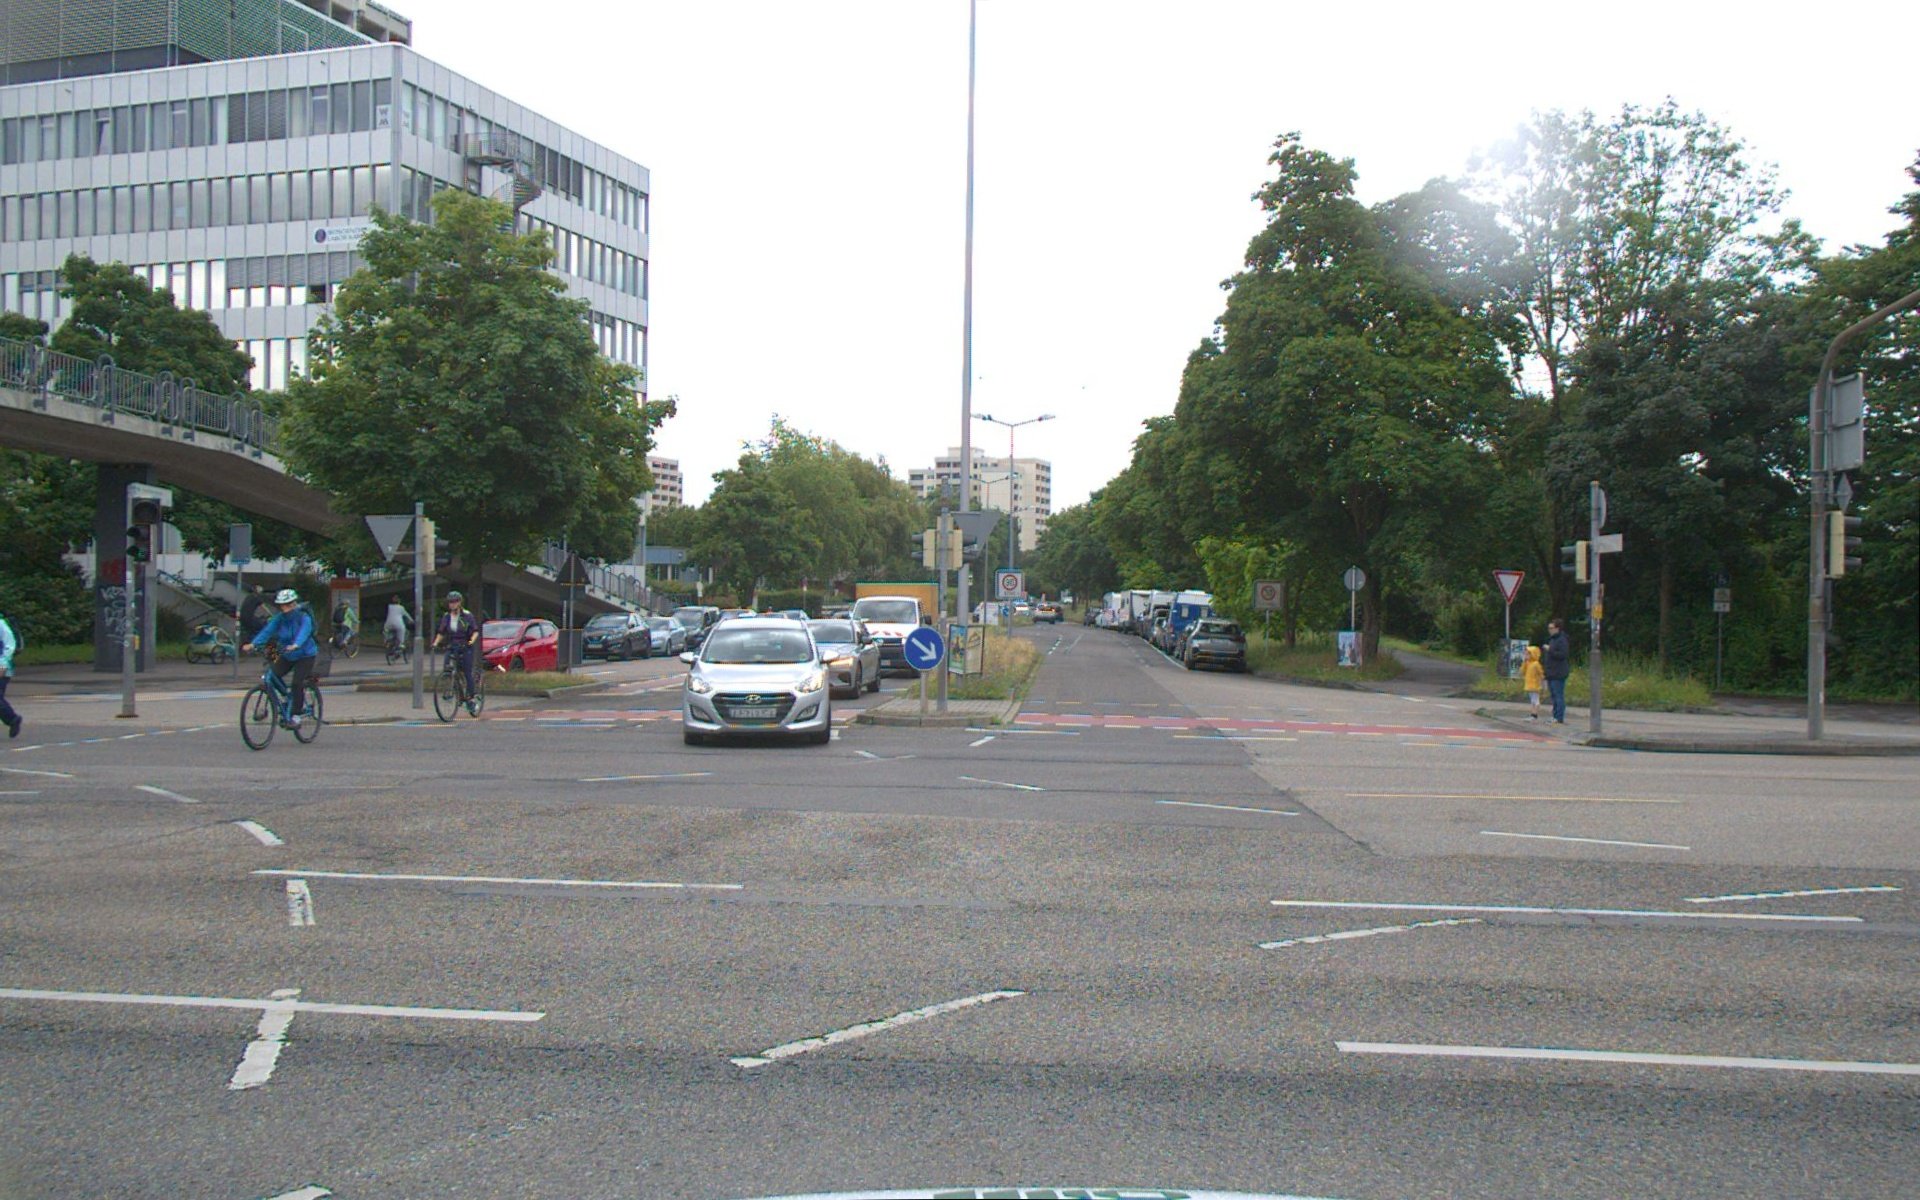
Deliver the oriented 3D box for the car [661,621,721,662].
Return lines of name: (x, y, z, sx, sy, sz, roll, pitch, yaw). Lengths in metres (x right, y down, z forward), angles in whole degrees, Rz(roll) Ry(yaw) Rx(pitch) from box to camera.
car: (-10.873, 1.654, 67.028, 1.636, 1.579, 3.763, 1, -1, 3)

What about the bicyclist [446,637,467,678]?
bicyclist: (-15.481, 1.755, 50.860, 0.422, 1.239, 0.567, 0, -1, 1)

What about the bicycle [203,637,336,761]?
bicycle: (-7.796, 1.082, 18.778, 0.531, 1.289, 2.111, 1, -1, 2)

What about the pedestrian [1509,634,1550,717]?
pedestrian: (9.538, 1.255, 27.701, 0.516, 1.365, 0.525, 1, -1, 2)

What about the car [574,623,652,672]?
car: (-11.737, 1.594, 56.226, 1.636, 1.579, 3.893, 1, -1, 3)

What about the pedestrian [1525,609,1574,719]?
pedestrian: (9.655, 1.037, 27.099, 0.643, 1.780, 0.459, 1, -1, 2)

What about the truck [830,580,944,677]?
truck: (-1.739, 0.695, 41.645, 2.110, 2.237, 5.843, 1, -1, 5)

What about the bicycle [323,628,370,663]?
bicycle: (-17.320, 1.284, 46.720, 0.515, 0.966, 1.710, 0, -1, 7)

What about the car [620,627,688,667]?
car: (-11.380, 1.737, 61.711, 1.636, 1.411, 3.896, 1, -1, 3)

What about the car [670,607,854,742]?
car: (-2.407, 0.868, 21.145, 1.752, 1.545, 4.326, 0, 0, 1)

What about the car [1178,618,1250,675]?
car: (7.907, 1.425, 51.783, 1.747, 1.691, 4.001, 1, -1, 2)

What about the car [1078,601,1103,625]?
car: (10.800, 1.074, 136.778, 1.618, 1.952, 3.917, 1, 0, -2)

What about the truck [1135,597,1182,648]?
truck: (11.710, 1.317, 97.842, 1.953, 2.888, 5.729, 1, -1, -1)

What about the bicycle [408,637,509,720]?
bicycle: (-7.334, 1.121, 24.290, 0.711, 1.120, 2.264, 1, -1, 2)

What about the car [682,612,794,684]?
car: (-4.905, 1.032, 37.048, 1.733, 1.503, 4.391, 0, -1, 2)

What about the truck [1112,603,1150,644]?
truck: (11.352, 1.589, 109.936, 1.952, 2.618, 5.378, 0, -1, 0)

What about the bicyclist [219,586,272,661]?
bicyclist: (-18.619, 0.611, 43.117, 0.838, 1.926, 1.128, 1, 0, 4)

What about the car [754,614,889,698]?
car: (-2.548, 1.004, 31.527, 1.857, 1.445, 4.738, 0, 0, 4)

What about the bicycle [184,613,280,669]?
bicycle: (-18.630, 1.024, 42.433, 0.838, 1.338, 3.231, 1, 0, 4)

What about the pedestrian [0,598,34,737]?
pedestrian: (-11.518, 0.790, 19.701, 0.673, 1.633, 0.488, 1, -1, -2)

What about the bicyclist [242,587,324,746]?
bicyclist: (-7.826, 0.755, 19.134, 0.630, 1.800, 0.647, 1, -1, 4)

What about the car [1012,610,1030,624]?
car: (6.846, 1.941, 185.283, 1.978, 1.532, 4.001, 1, -1, 2)

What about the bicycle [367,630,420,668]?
bicycle: (-15.197, 1.304, 44.443, 0.746, 0.966, 1.953, 1, -1, 0)

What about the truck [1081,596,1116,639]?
truck: (10.111, 1.334, 120.792, 1.953, 3.062, 5.770, 1, -1, -1)

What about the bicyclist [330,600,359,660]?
bicyclist: (-17.372, 0.856, 46.666, 0.553, 1.673, 0.532, 0, -2, 8)

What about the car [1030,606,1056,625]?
car: (7.035, 1.329, 140.167, 1.979, 1.532, 3.999, 1, -1, 0)

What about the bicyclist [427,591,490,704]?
bicyclist: (-7.319, 0.690, 24.143, 0.665, 1.622, 0.695, 0, -2, 2)

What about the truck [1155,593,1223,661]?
truck: (9.423, 1.136, 68.550, 2.129, 2.703, 6.247, 0, -1, 2)

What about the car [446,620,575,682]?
car: (-10.730, 1.214, 39.681, 1.480, 1.415, 3.535, 0, -1, 13)
